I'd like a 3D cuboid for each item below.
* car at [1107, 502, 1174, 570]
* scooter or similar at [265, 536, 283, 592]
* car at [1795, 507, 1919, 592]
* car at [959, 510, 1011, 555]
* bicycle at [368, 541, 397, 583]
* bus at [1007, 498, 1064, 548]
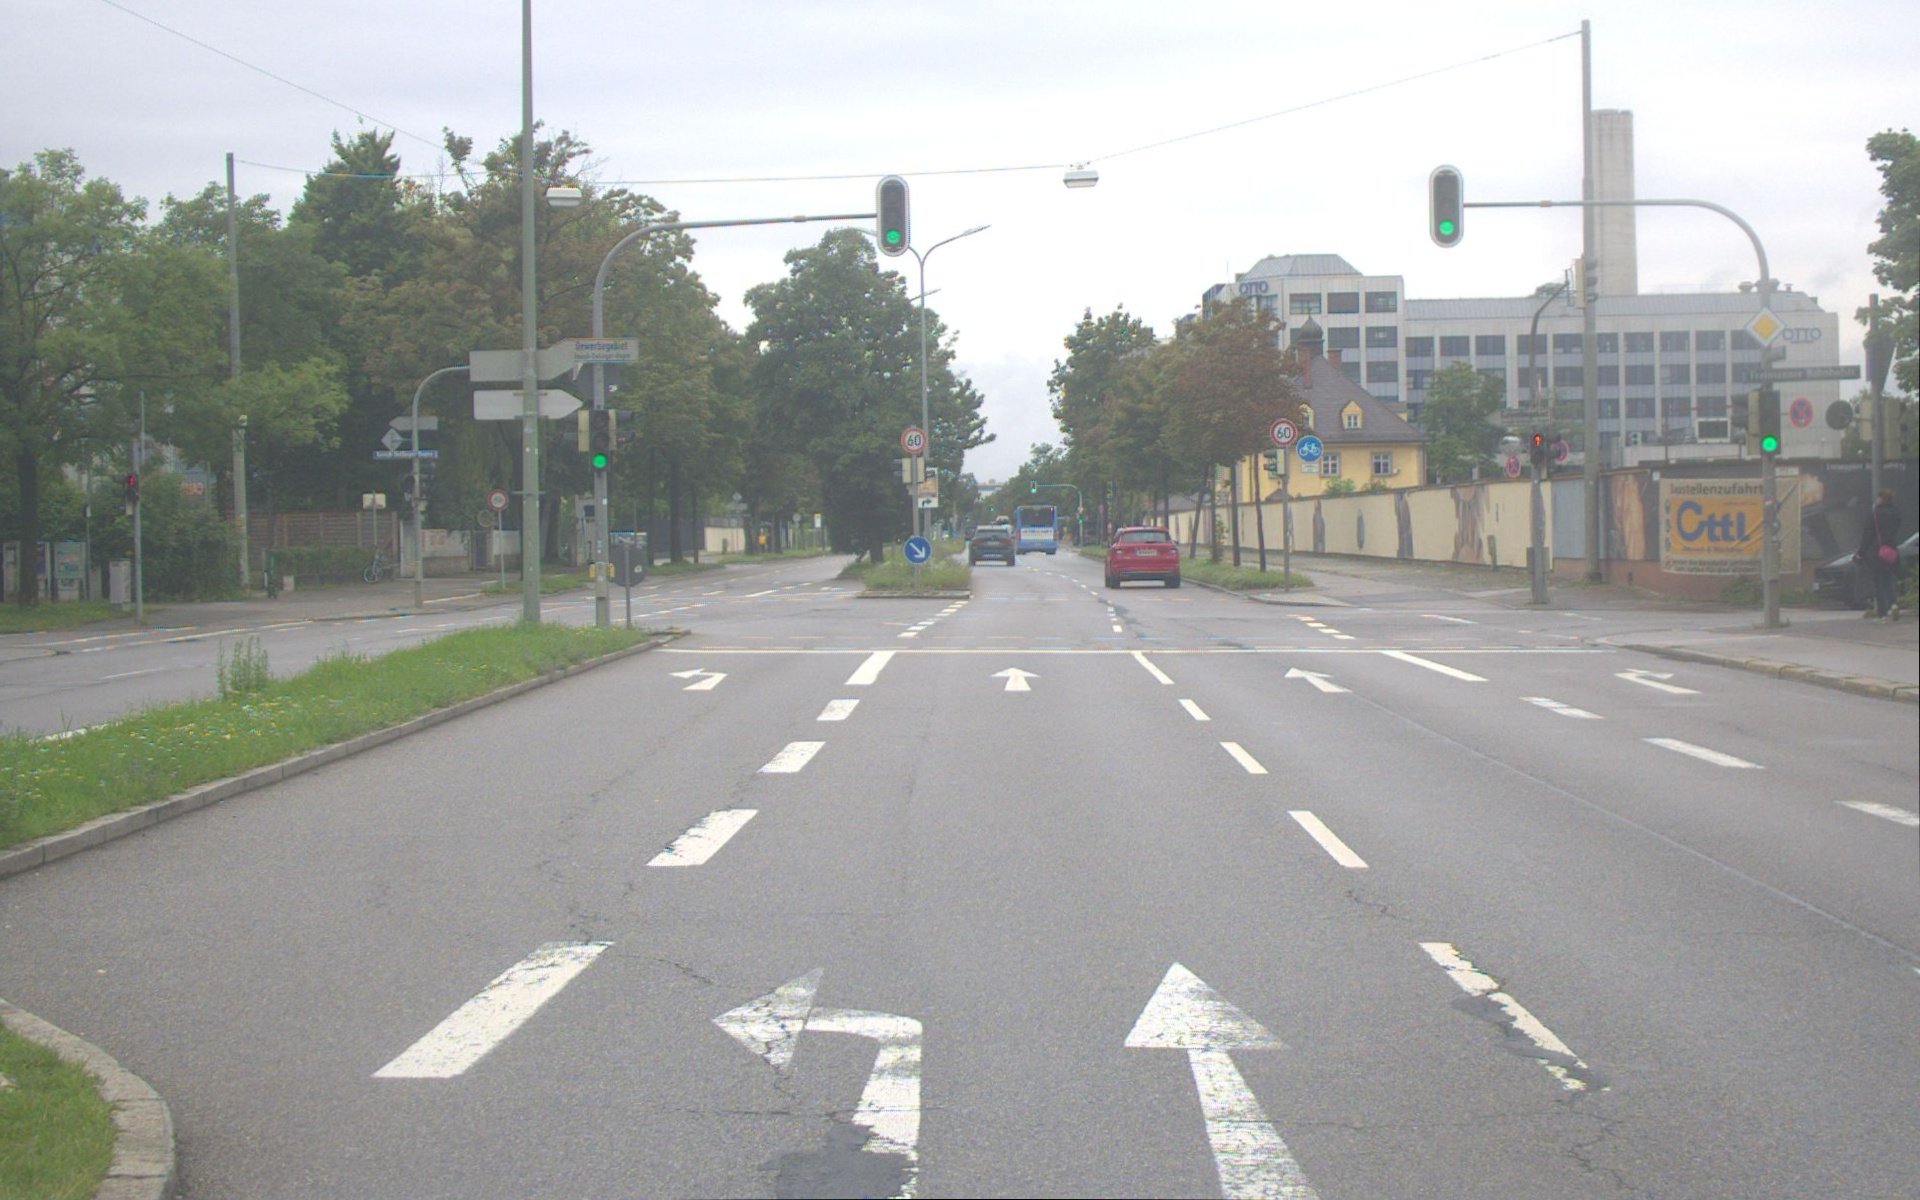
[{"bbox_3d":[4.657,-1.655,89.015,1.484,1.710,3.551,0,1,-1],"label":"car"},{"bbox_3d":[-17.721,-0.936,88.822,0.370,1.419,1.406,0,1,-15],"label":"scooter or similar"},{"bbox_3d":[16.893,-0.916,59.851,4.251,1.423,2.000,-1,1,3],"label":"car"},{"bbox_3d":[1.037,-2.821,143.414,2.084,1.859,4.386,0,1,-1],"label":"car"},{"bbox_3d":[-18.147,-1.197,108.120,0.582,1.291,2.455,0,1,-2],"label":"bicycle"},{"bbox_3d":[4.768,-4.882,219.421,3.220,3.116,10.346,0,1,-1],"label":"bus"}]
